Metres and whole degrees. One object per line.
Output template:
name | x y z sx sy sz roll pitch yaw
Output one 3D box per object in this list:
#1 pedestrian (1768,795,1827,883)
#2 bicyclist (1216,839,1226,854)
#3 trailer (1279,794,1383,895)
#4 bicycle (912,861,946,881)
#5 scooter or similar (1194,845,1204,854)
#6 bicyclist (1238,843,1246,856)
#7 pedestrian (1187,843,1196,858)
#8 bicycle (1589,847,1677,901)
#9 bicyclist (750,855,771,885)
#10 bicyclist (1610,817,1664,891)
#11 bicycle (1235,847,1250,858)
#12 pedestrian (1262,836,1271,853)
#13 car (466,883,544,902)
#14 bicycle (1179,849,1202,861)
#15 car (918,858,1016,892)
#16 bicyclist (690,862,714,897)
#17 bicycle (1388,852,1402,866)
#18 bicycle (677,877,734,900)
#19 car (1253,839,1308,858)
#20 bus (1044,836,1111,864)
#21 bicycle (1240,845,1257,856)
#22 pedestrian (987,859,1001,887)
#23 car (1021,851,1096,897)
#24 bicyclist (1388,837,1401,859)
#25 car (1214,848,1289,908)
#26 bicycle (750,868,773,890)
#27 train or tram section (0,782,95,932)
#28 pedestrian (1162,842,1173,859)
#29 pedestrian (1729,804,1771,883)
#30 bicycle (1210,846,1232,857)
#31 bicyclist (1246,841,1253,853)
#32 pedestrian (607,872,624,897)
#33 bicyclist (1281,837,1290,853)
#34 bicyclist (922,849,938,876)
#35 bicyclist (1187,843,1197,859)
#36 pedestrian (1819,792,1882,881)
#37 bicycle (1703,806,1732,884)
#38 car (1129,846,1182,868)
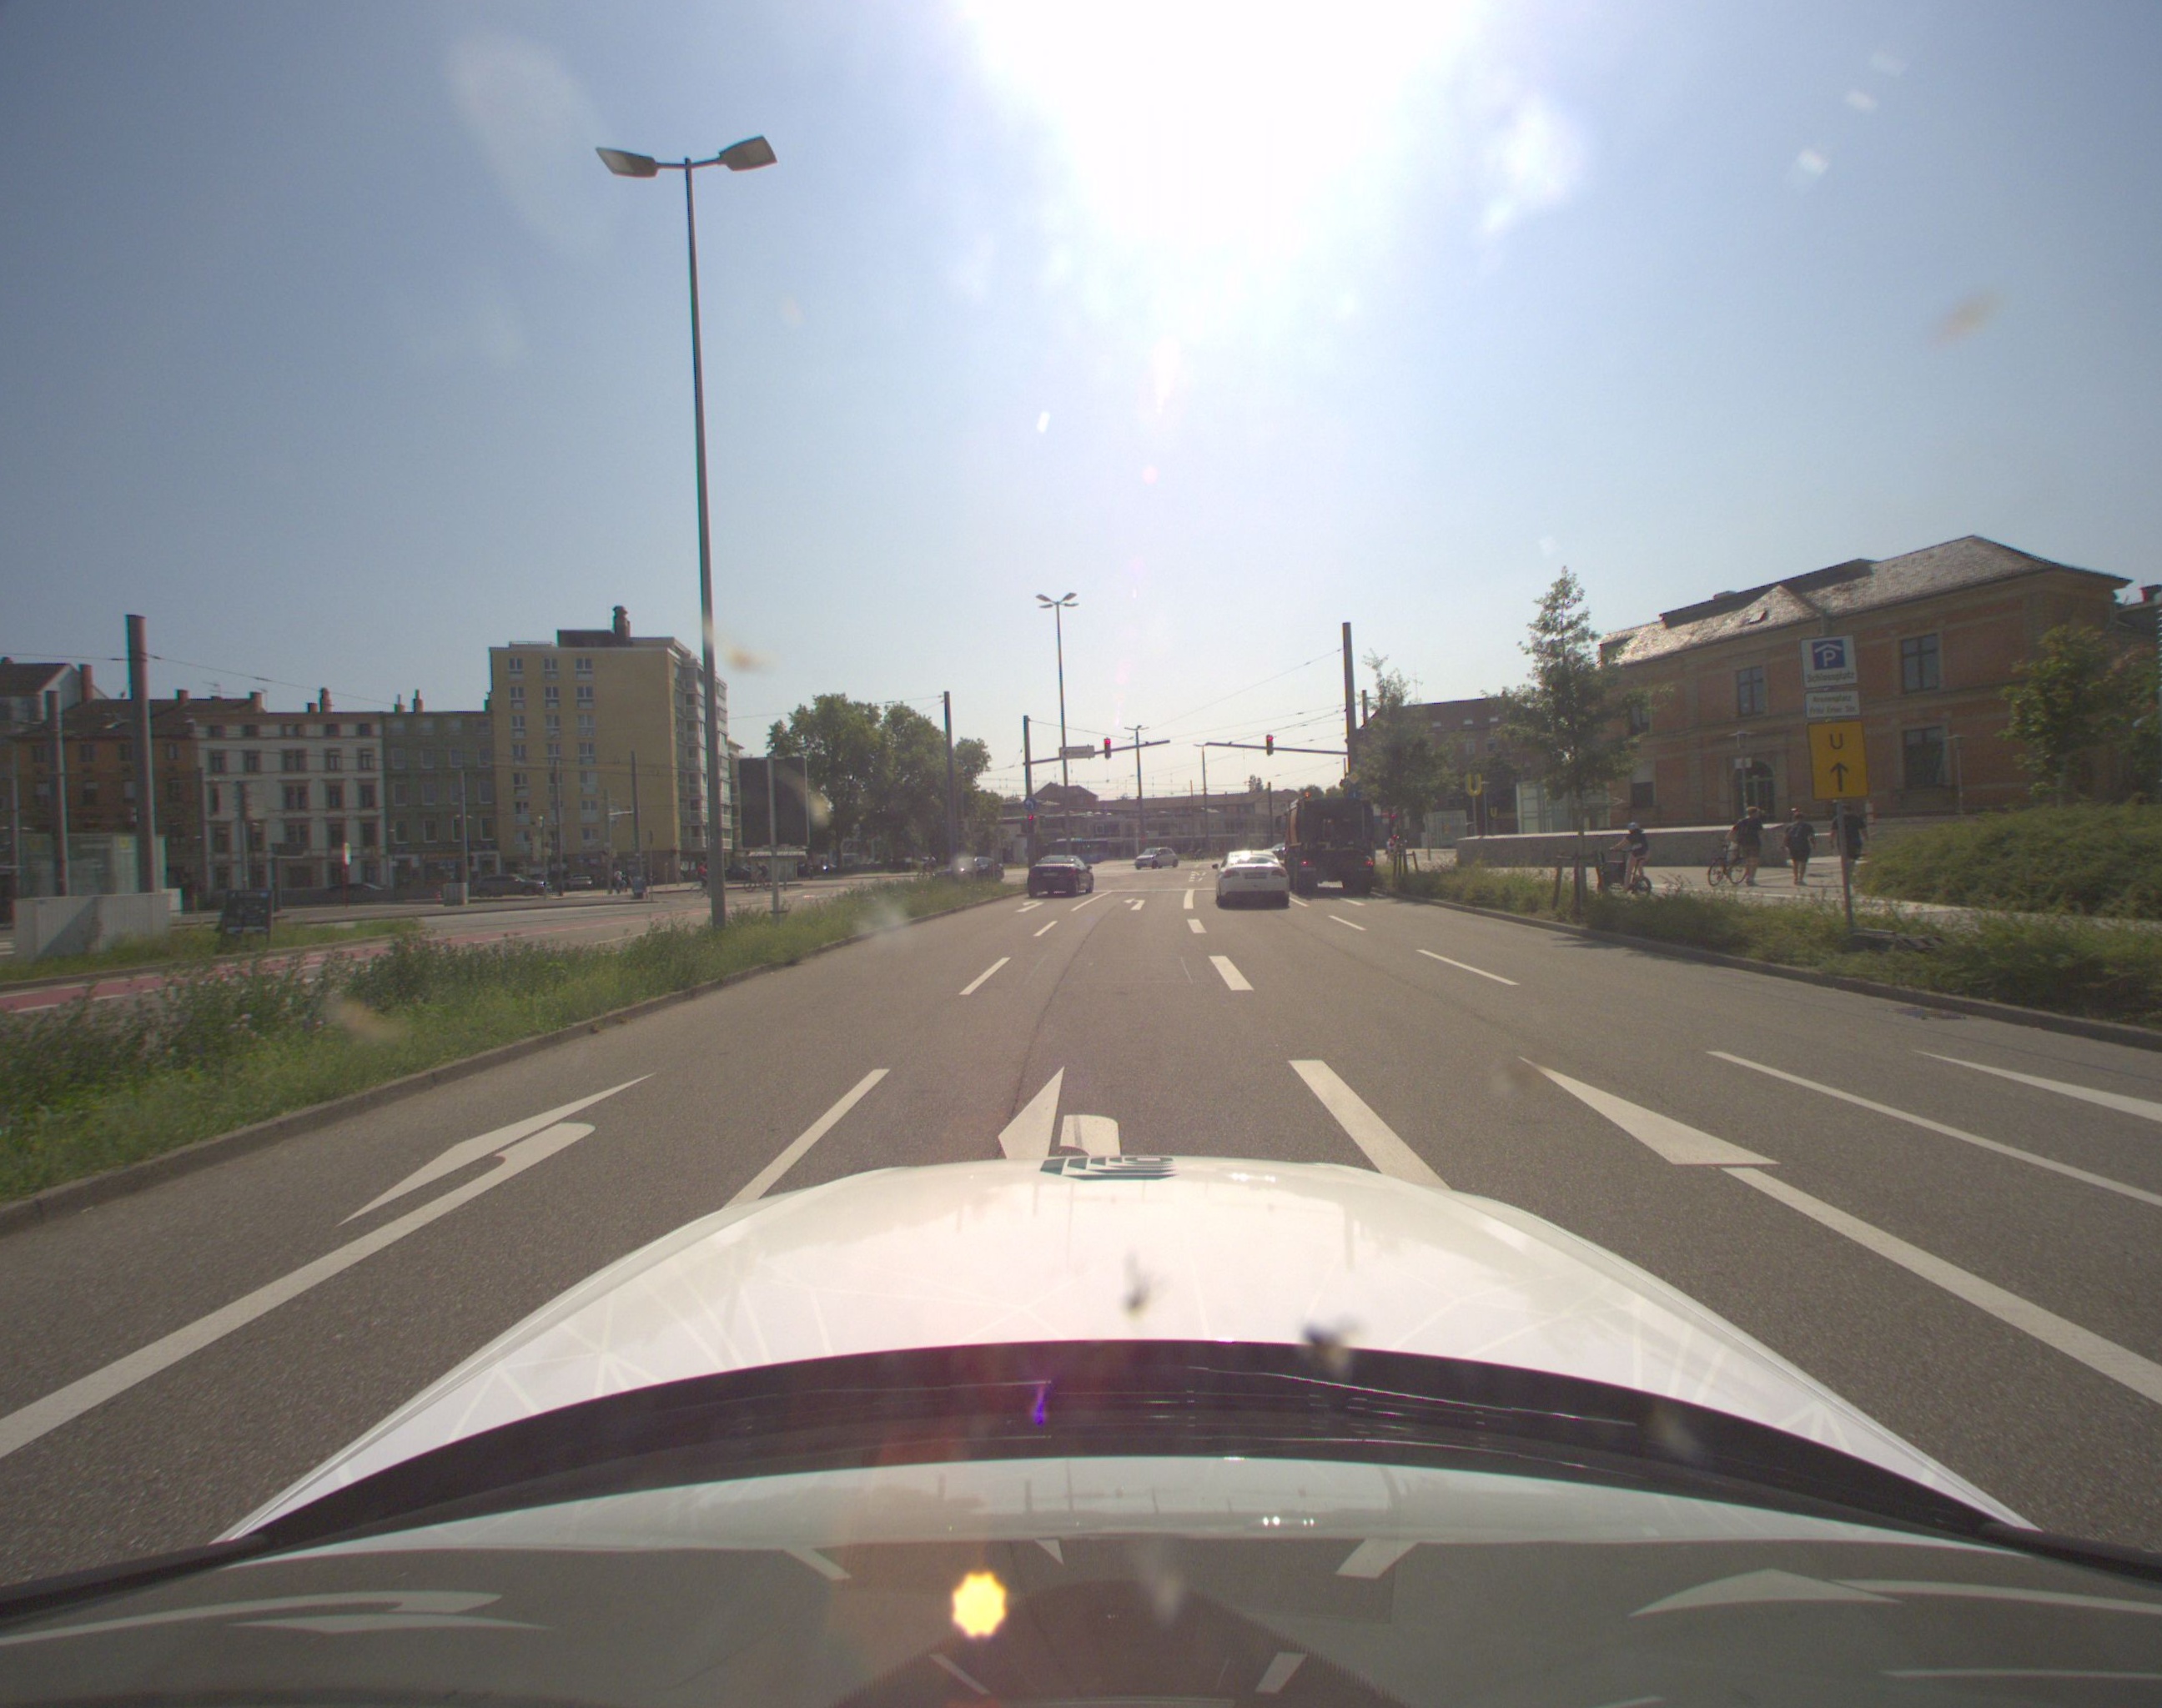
pedestrian | 16.772 -0.347 19.088 0.771 1.973 0.758 -3 0 22
bicyclist | 14.737 -0.783 85.851 0.761 1.634 0.761 -3 0 -8
trailer | 8.322 -0.322 27.762 2.448 3.007 6.341 -1 1 9
bicycle | -9.493 1.071 51.009 0.690 1.137 2.056 -3 0 42
scooter or similar | 12.493 -0.461 86.390 0.835 0.974 0.790 -3 0 -9
bicyclist | 16.729 -0.457 84.616 0.597 1.247 0.503 -3 0 -24
pedestrian | 11.679 -0.363 86.246 0.635 1.560 0.745 -3 0 -9
bicycle | 11.746 0.408 17.409 0.554 1.060 2.005 -3 0 2
bicyclist | -18.418 0.936 46.785 0.977 1.654 0.657 -3 0 -26
bicyclist | 11.713 -0.005 17.182 0.546 1.496 0.804 -3 0 2
bicycle | 16.785 -0.166 84.631 1.598 0.985 0.503 -3 0 -24
pedestrian | 20.247 -1.020 88.886 0.621 1.752 0.627 -3 0 -6
car | -39.084 2.612 55.350 3.890 0.987 1.707 -3 0 -16
bicycle | 11.379 0.104 84.686 2.198 1.087 0.760 -3 0 -12
car | -5.853 1.075 42.132 4.586 1.438 1.977 -3 0 -38
bicyclist | -18.373 1.229 39.489 0.839 1.642 0.605 -3 0 -10
bicycle | 19.046 0.313 49.439 0.669 0.776 2.138 -3 0 19
bicycle | -18.206 1.652 39.518 2.410 0.953 0.601 -3 0 -11
car | 17.179 -0.468 69.942 4.605 1.400 1.926 -3 0 -34
bus | -0.241 -0.521 94.543 3.026 2.931 11.920 -3 0 24
bicycle | 17.076 -0.339 82.800 1.576 0.985 0.510 -3 0 23
pedestrian | -4.170 0.900 39.088 0.596 1.268 0.503 -3 2 -11
car | -0.705 0.662 28.608 1.746 1.404 3.994 -2 0 11
bicyclist | 18.966 -0.382 49.307 0.669 1.320 0.687 -3 0 18
car | 4.661 0.591 22.772 1.748 1.455 4.436 -2 0 8
bicycle | -18.369 1.399 46.732 0.977 1.178 2.808 -3 0 -25
train or tram section | -28.613 0.309 17.960 3.104 3.569 8.299 -5 0 33
pedestrian | 9.145 -0.398 86.076 0.776 1.752 0.813 -3 0 22
pedestrian | 16.140 -0.259 19.661 0.653 1.860 0.798 -3 1 34
bicycle | 14.747 -0.299 85.857 2.196 1.087 0.761 -3 0 -9
bicyclist | 17.142 -0.705 82.770 0.499 1.188 0.510 -3 0 24
pedestrian | -31.377 2.067 54.883 0.648 1.632 0.812 -3 0 -10
bicyclist | 20.111 -0.891 80.136 0.658 1.509 0.719 -3 0 28
bicyclist | -9.451 0.558 51.088 0.684 1.650 0.623 -2 0 41
bicyclist | 11.530 -0.307 84.717 0.798 1.541 0.760 -3 0 -12
pedestrian | 17.756 -0.404 18.809 0.771 1.973 0.758 -3 0 22
bicycle | 15.610 -0.230 19.980 0.451 1.860 1.372 -3 0 37
car | 5.551 0.239 60.549 1.753 1.425 4.092 -3 0 43
